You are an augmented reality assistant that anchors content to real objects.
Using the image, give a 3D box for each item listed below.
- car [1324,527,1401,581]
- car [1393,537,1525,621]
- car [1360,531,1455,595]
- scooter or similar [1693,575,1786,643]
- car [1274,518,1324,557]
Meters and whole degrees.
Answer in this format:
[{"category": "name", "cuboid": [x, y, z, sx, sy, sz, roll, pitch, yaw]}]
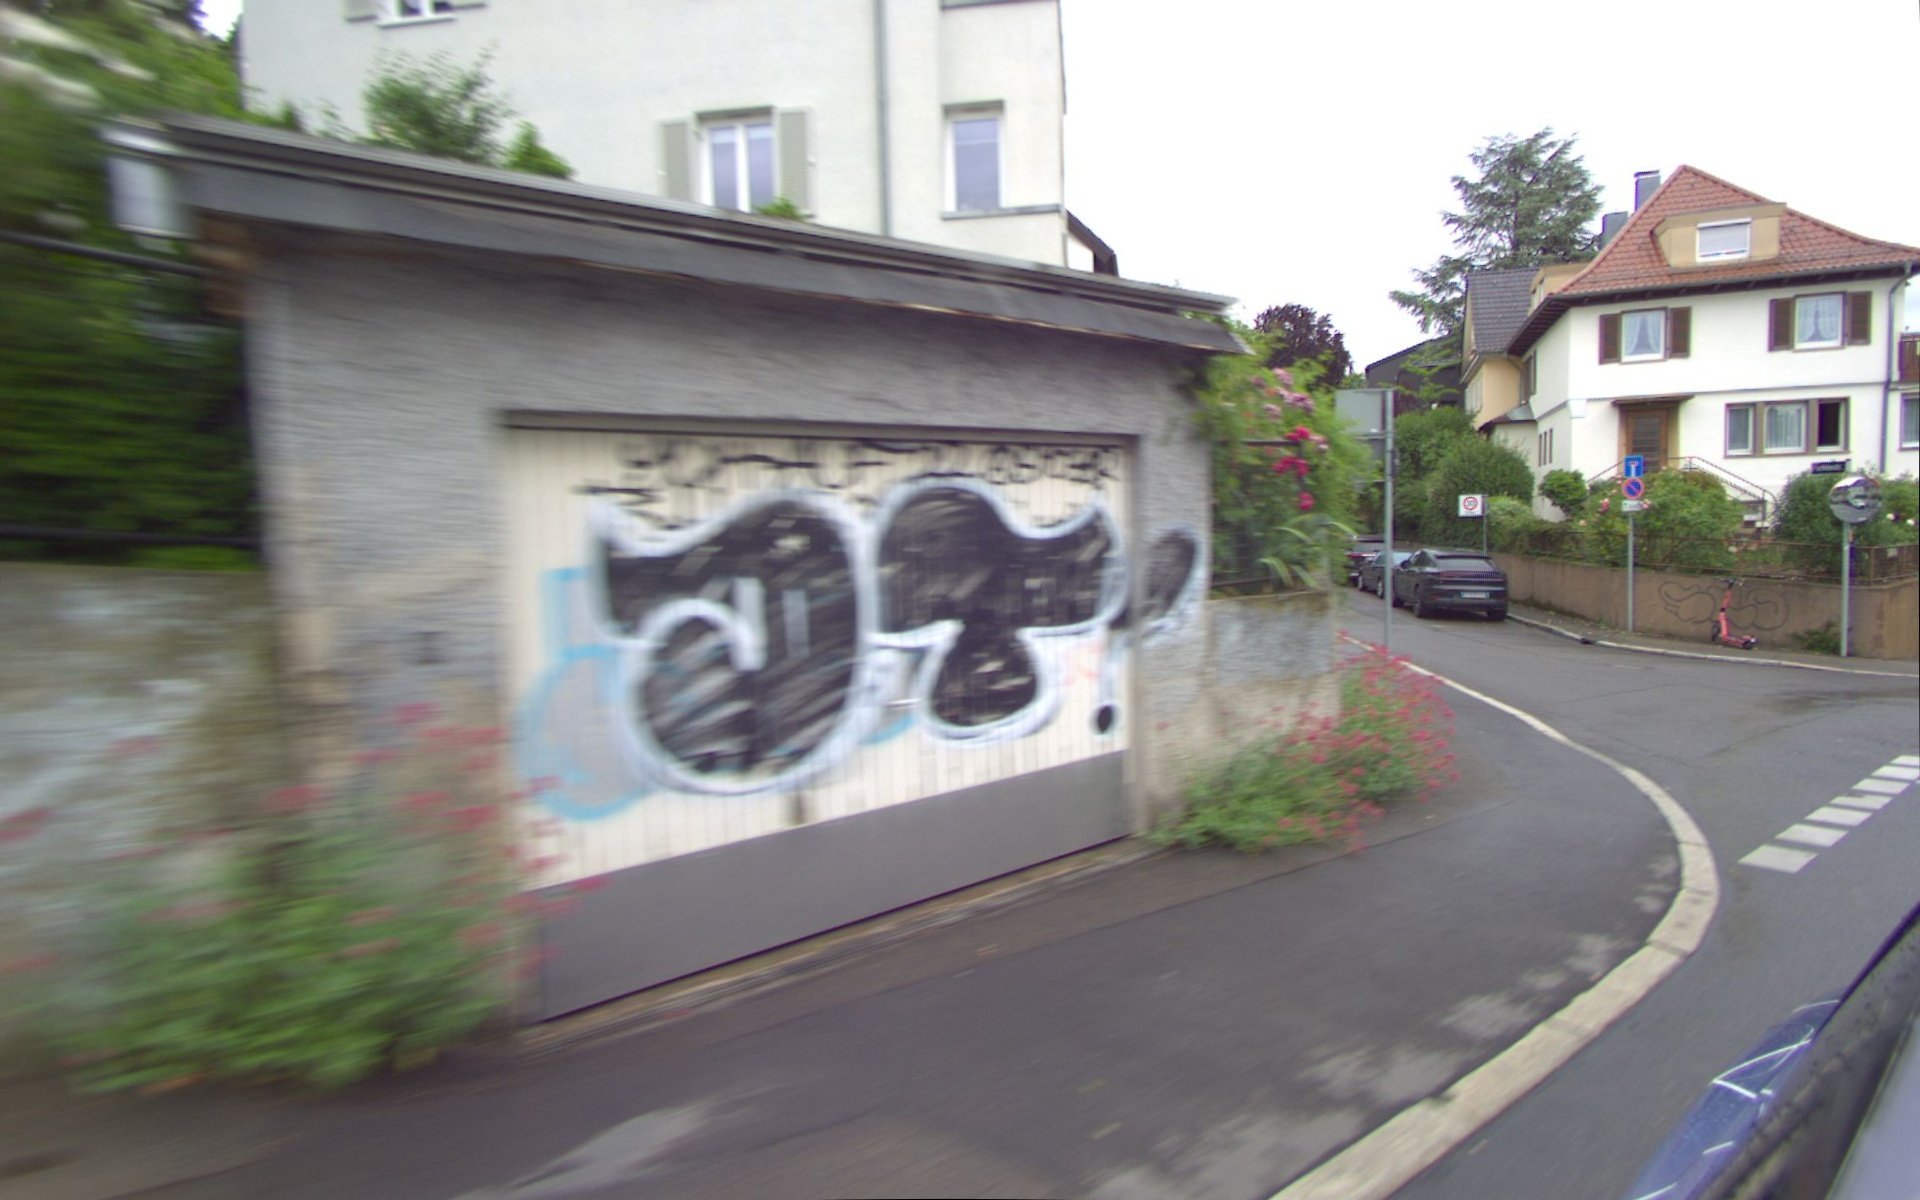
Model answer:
[{"category": "car", "cuboid": [14.274, -1.689, 36.116, 1.847, 1.687, 4.357, -3, 3, 13]}, {"category": "car", "cuboid": [12.373, -0.606, 25.418, 1.970, 1.702, 4.359, 0, 6, 13]}, {"category": "car", "cuboid": [13.620, -1.208, 31.057, 1.847, 1.661, 4.358, -2, 5, 13]}, {"category": "scooter or similar", "cuboid": [14.619, 0.141, 19.032, 0.642, 1.069, 1.557, 2, 6, 8]}, {"category": "car", "cuboid": [17.313, -3.245, 51.877, 1.846, 1.862, 4.362, 1, 6, 11]}]
